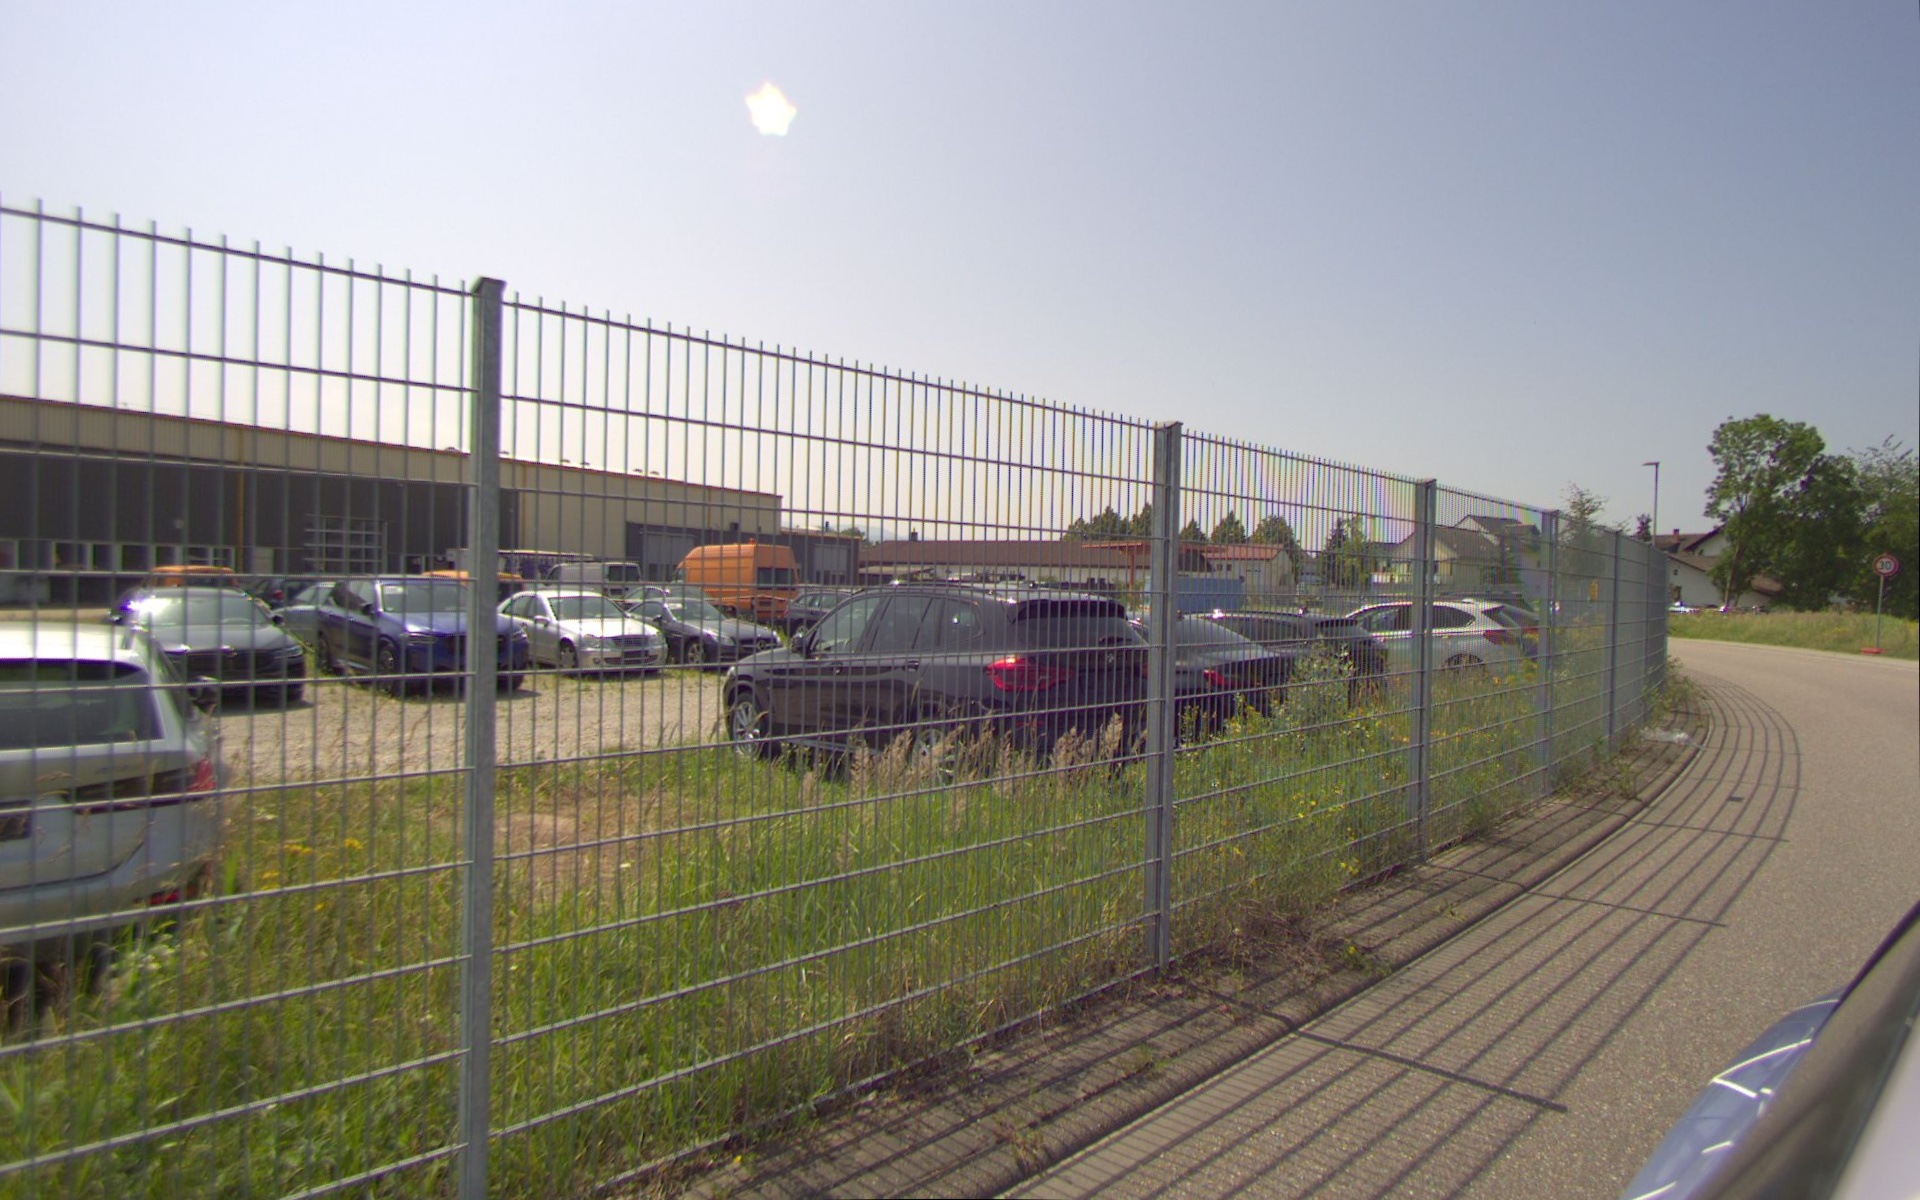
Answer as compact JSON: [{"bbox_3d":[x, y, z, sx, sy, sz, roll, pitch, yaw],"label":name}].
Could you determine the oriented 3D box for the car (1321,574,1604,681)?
[{"bbox_3d":[9.309,0.431,18.955,4.463,1.690,1.699,3,1,39],"label":"car"}]

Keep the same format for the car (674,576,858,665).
[{"bbox_3d":[-4.394,0.371,22.728,3.980,1.738,1.973,2,3,39],"label":"car"}]

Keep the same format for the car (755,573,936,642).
[{"bbox_3d":[-2.896,0.136,24.980,4.550,1.450,1.640,3,1,37],"label":"car"}]

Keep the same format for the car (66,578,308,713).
[{"bbox_3d":[-10.267,0.497,13.366,3.752,1.455,1.590,3,1,37],"label":"car"}]

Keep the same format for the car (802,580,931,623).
[{"bbox_3d":[-3.279,0.020,35.046,4.365,1.285,1.797,3,1,37],"label":"car"}]

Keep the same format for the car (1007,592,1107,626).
[{"bbox_3d":[4.555,0.407,47.648,4.365,1.362,1.817,3,1,37],"label":"car"}]

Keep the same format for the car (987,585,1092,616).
[{"bbox_3d":[3.519,0.006,45.174,4.365,1.221,1.817,3,1,37],"label":"car"}]

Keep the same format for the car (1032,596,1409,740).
[{"bbox_3d":[3.164,0.727,12.896,4.340,1.395,1.737,3,1,43],"label":"car"}]

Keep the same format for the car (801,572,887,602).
[{"bbox_3d":[-6.011,-0.674,52.239,4.365,1.395,1.817,3,1,37],"label":"car"}]

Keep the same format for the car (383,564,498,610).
[{"bbox_3d":[-19.121,-0.492,37.195,4.361,1.504,1.949,3,1,35],"label":"car"}]

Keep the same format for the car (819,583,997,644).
[{"bbox_3d":[-1.459,0.322,27.151,4.733,1.368,1.797,3,1,37],"label":"car"}]

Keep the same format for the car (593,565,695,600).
[{"bbox_3d":[-13.694,-0.775,43.755,4.361,1.339,1.949,3,1,35],"label":"car"}]

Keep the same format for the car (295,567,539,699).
[{"bbox_3d":[-8.400,0.395,15.480,4.458,1.669,1.850,3,1,41],"label":"car"}]

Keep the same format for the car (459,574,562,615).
[{"bbox_3d":[-17.586,-0.228,39.530,4.365,1.395,1.817,3,1,37],"label":"car"}]

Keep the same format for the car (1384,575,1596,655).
[{"bbox_3d":[13.536,0.336,26.179,4.649,1.791,1.729,2,1,24],"label":"car"}]

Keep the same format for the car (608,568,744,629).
[{"bbox_3d":[-7.748,-0.076,27.475,3.808,1.480,1.568,3,1,37],"label":"car"}]

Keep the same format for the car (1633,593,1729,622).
[{"bbox_3d":[37.439,0.372,52.692,1.551,1.351,4.408,2,1,-4],"label":"car"}]

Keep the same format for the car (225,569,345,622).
[{"bbox_3d":[-21.864,-0.173,32.751,4.361,1.504,1.731,3,1,35],"label":"car"}]

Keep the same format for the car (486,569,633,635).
[{"bbox_3d":[-10.171,0.013,25.605,3.808,1.480,1.732,3,1,37],"label":"car"}]

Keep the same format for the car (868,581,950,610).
[{"bbox_3d":[-2.837,-0.254,55.520,4.365,1.395,1.817,3,1,37],"label":"car"}]

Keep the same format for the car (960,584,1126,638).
[{"bbox_3d":[2.435,0.295,30.325,4.733,1.368,1.797,3,1,37],"label":"car"}]

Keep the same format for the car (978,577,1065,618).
[{"bbox_3d":[3.251,-0.139,54.278,4.365,2.006,1.817,3,1,37],"label":"car"}]

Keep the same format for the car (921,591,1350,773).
[{"bbox_3d":[1.624,0.684,10.637,1.734,1.395,4.288,1,1,-41],"label":"car"}]

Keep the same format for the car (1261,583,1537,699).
[{"bbox_3d":[7.556,0.619,17.573,4.109,1.690,1.701,3,1,36],"label":"car"}]

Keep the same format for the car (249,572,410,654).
[{"bbox_3d":[-13.123,0.225,20.987,3.808,1.480,1.568,3,1,37],"label":"car"}]

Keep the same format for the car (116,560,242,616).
[{"bbox_3d":[-23.451,-0.374,30.355,4.361,1.504,1.731,3,1,35],"label":"car"}]

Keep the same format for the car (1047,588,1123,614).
[{"bbox_3d":[6.108,0.040,49.594,3.356,1.122,1.649,3,1,37],"label":"car"}]

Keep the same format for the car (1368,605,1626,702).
[{"bbox_3d":[10.932,0.999,20.750,4.457,1.602,1.773,3,1,36],"label":"car"}]

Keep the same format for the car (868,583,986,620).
[{"bbox_3d":[-1.264,0.042,37.527,4.365,1.198,1.556,3,1,37],"label":"car"}]

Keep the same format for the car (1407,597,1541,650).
[{"bbox_3d":[15.704,0.685,31.087,3.435,1.435,1.506,2,1,21],"label":"car"}]

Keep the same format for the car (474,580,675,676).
[{"bbox_3d":[-6.932,0.438,18.066,3.752,1.455,1.590,3,1,37],"label":"car"}]

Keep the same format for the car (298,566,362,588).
[{"bbox_3d":[-39.657,-1.445,63.662,3.957,1.349,1.976,2,1,34],"label":"car"}]

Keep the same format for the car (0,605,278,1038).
[{"bbox_3d":[-4.628,0.784,4.893,1.806,1.424,4.217,0,-1,-40],"label":"car"}]

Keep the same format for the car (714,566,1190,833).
[{"bbox_3d":[-0.328,0.590,8.649,1.733,1.657,4.291,1,1,-39],"label":"car"}]

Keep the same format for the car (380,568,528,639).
[{"bbox_3d":[-11.856,0.043,23.636,3.808,1.480,1.568,3,1,37],"label":"car"}]

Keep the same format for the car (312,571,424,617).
[{"bbox_3d":[-20.811,-0.225,35.556,3.976,1.482,1.974,2,1,36],"label":"car"}]

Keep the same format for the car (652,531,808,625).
[{"bbox_3d":[-6.940,-0.687,30.294,4.720,2.617,1.954,3,1,37],"label":"car"}]

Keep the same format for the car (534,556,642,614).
[{"bbox_3d":[-15.198,-0.637,41.272,4.361,2.199,1.949,3,1,35],"label":"car"}]

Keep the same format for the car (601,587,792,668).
[{"bbox_3d":[-5.156,0.478,19.628,3.752,1.318,1.590,3,1,37],"label":"car"}]
